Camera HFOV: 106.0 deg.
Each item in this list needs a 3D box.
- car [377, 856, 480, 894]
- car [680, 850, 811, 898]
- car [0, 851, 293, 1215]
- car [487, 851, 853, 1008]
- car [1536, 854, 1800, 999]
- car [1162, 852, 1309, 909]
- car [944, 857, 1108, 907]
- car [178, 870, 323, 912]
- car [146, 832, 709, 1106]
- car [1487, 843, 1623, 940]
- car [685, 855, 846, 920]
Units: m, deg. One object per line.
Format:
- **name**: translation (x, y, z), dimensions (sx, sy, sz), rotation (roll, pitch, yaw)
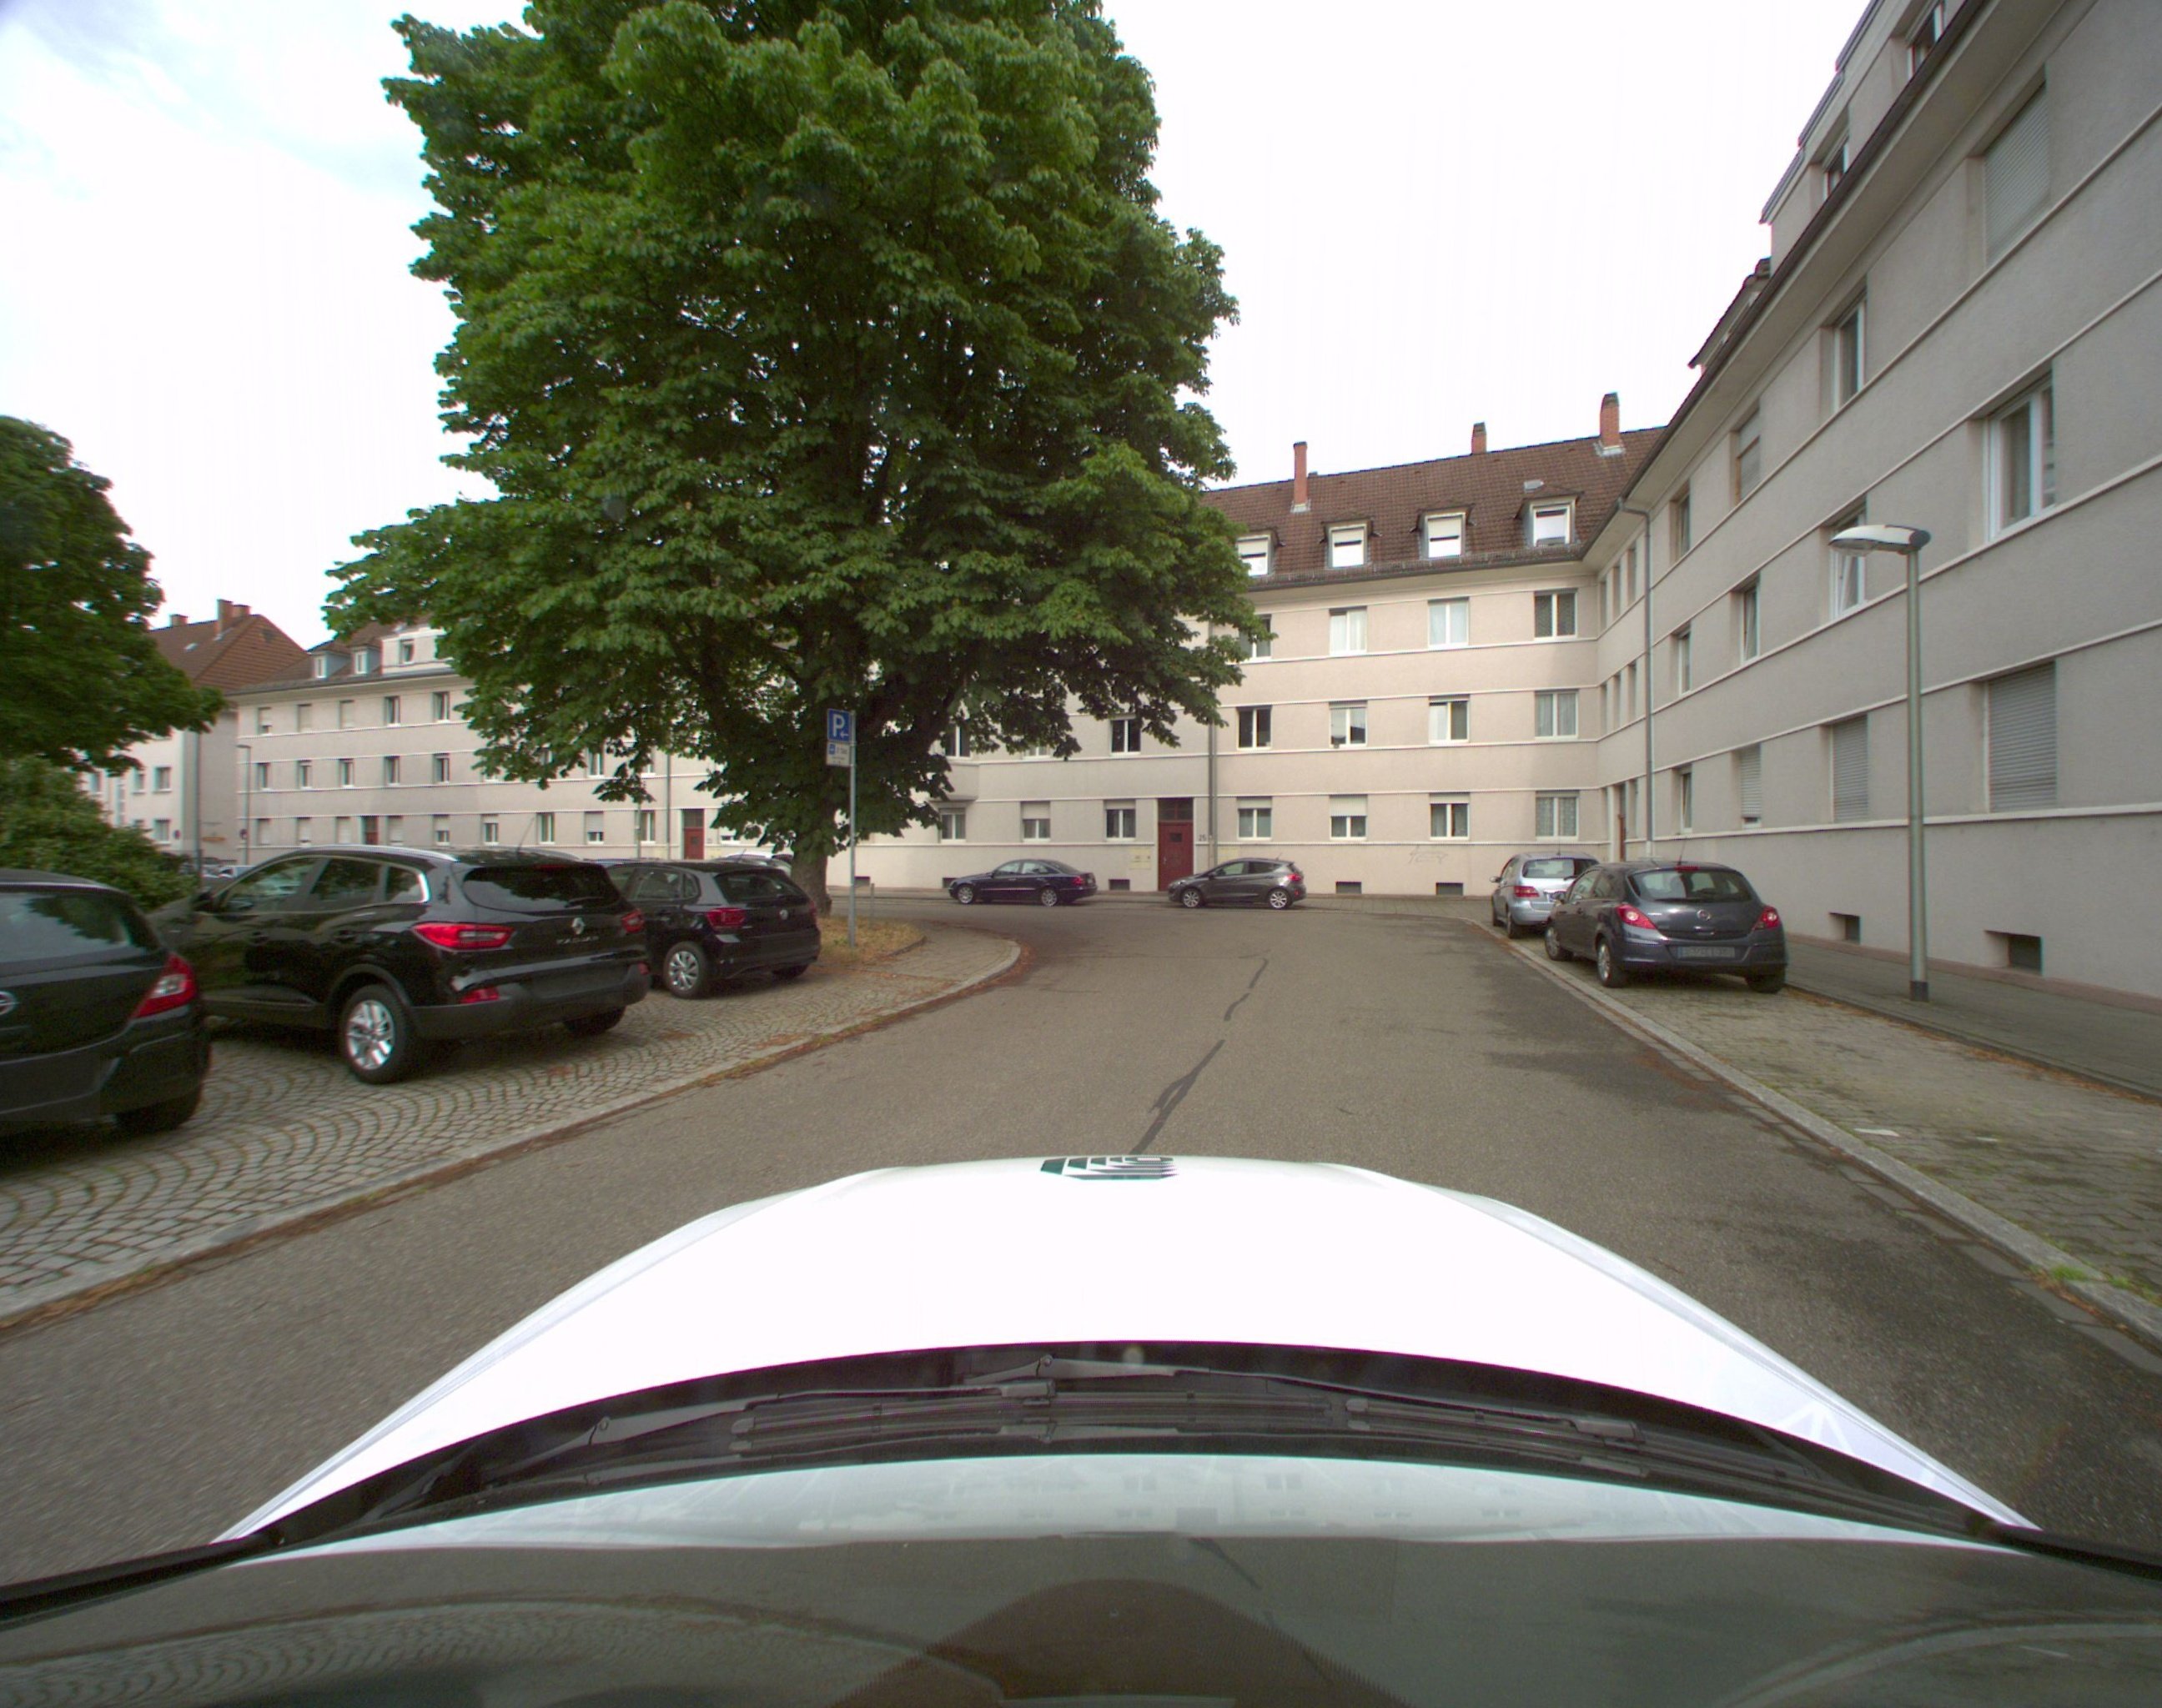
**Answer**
- **car**: translation (-28.290, 0.879, 35.311), dimensions (3.781, 1.525, 1.711), rotation (0, 1, 19)
- **car**: translation (-12.370, 0.701, 30.113), dimensions (4.241, 1.673, 1.857), rotation (0, 1, 17)
- **car**: translation (-6.736, 0.780, 4.489), dimensions (4.305, 1.566, 1.851), rotation (1, 0, 23)
- **car**: translation (-4.887, 0.769, 9.754), dimensions (3.797, 1.577, 1.840), rotation (0, 0, 22)
- **car**: translation (7.236, 0.769, 10.525), dimensions (1.742, 1.490, 3.956), rotation (0, -1, 20)
- **car**: translation (4.566, 0.733, 23.943), dimensions (4.033, 1.525, 1.771), rotation (0, 1, 18)
- **car**: translation (-1.740, 0.840, 25.952), dimensions (4.894, 1.420, 1.759), rotation (0, 1, 18)
- **car**: translation (-26.833, 1.161, 26.330), dimensions (3.969, 1.258, 1.710), rotation (0, -2, 19)
- **car**: translation (-5.401, 0.710, 6.784), dimensions (4.019, 1.697, 1.927), rotation (1, 0, 23)
- **car**: translation (9.161, 0.658, 16.058), dimensions (1.741, 1.628, 4.222), rotation (0, -1, 22)
- **car**: translation (-7.753, 0.795, 20.035), dimensions (3.549, 1.494, 1.537), rotation (0, -3, 22)
